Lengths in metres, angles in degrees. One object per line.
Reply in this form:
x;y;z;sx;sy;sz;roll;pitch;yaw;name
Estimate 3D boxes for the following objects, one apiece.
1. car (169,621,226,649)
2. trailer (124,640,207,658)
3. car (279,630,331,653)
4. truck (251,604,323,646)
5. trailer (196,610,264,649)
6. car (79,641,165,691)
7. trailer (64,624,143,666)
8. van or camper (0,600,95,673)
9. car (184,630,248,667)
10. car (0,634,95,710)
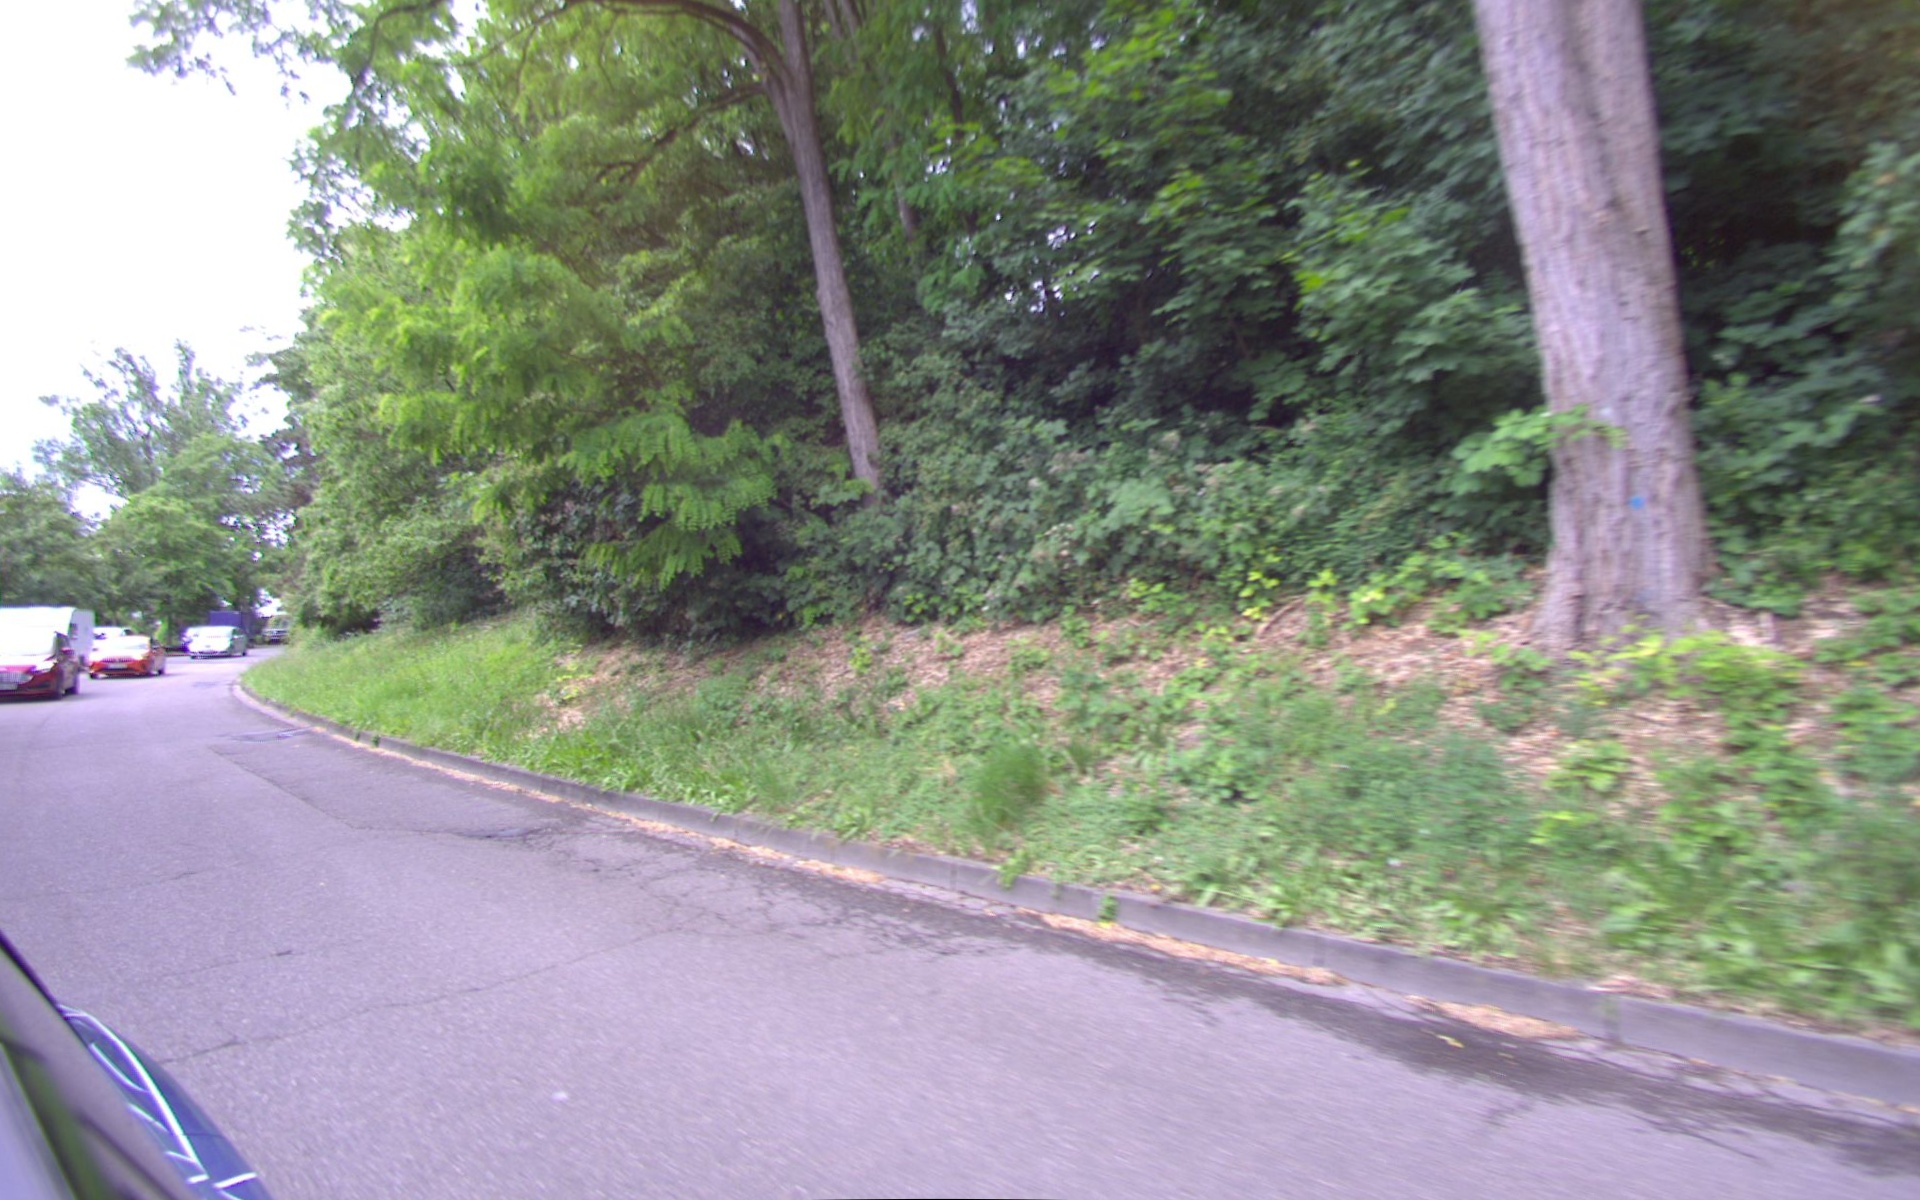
-45.300;2.080;60.209;1.705;1.534;3.415;-1;-2;-19;car
-42.790;2.625;54.671;2.074;0.656;6.422;-2;0;-25;trailer
-45.458;2.852;70.317;1.775;1.501;4.010;0;-1;-14;car
-49.963;1.812;75.318;2.272;2.955;7.053;0;-1;-15;truck
-46.675;1.921;64.802;2.077;2.380;4.715;1;-3;-17;trailer
-29.542;2.272;35.787;1.837;1.460;4.187;0;0;-33;car
-39.552;2.042;46.839;1.747;1.744;4.665;1;0;-27;trailer
-35.278;1.345;38.681;2.131;2.555;6.050;-2;0;-29;van or camper
-38.606;2.456;52.609;1.891;1.694;4.013;1;0;-25;car
-22.438;1.671;24.095;1.966;1.641;4.640;-2;-1;-30;car
